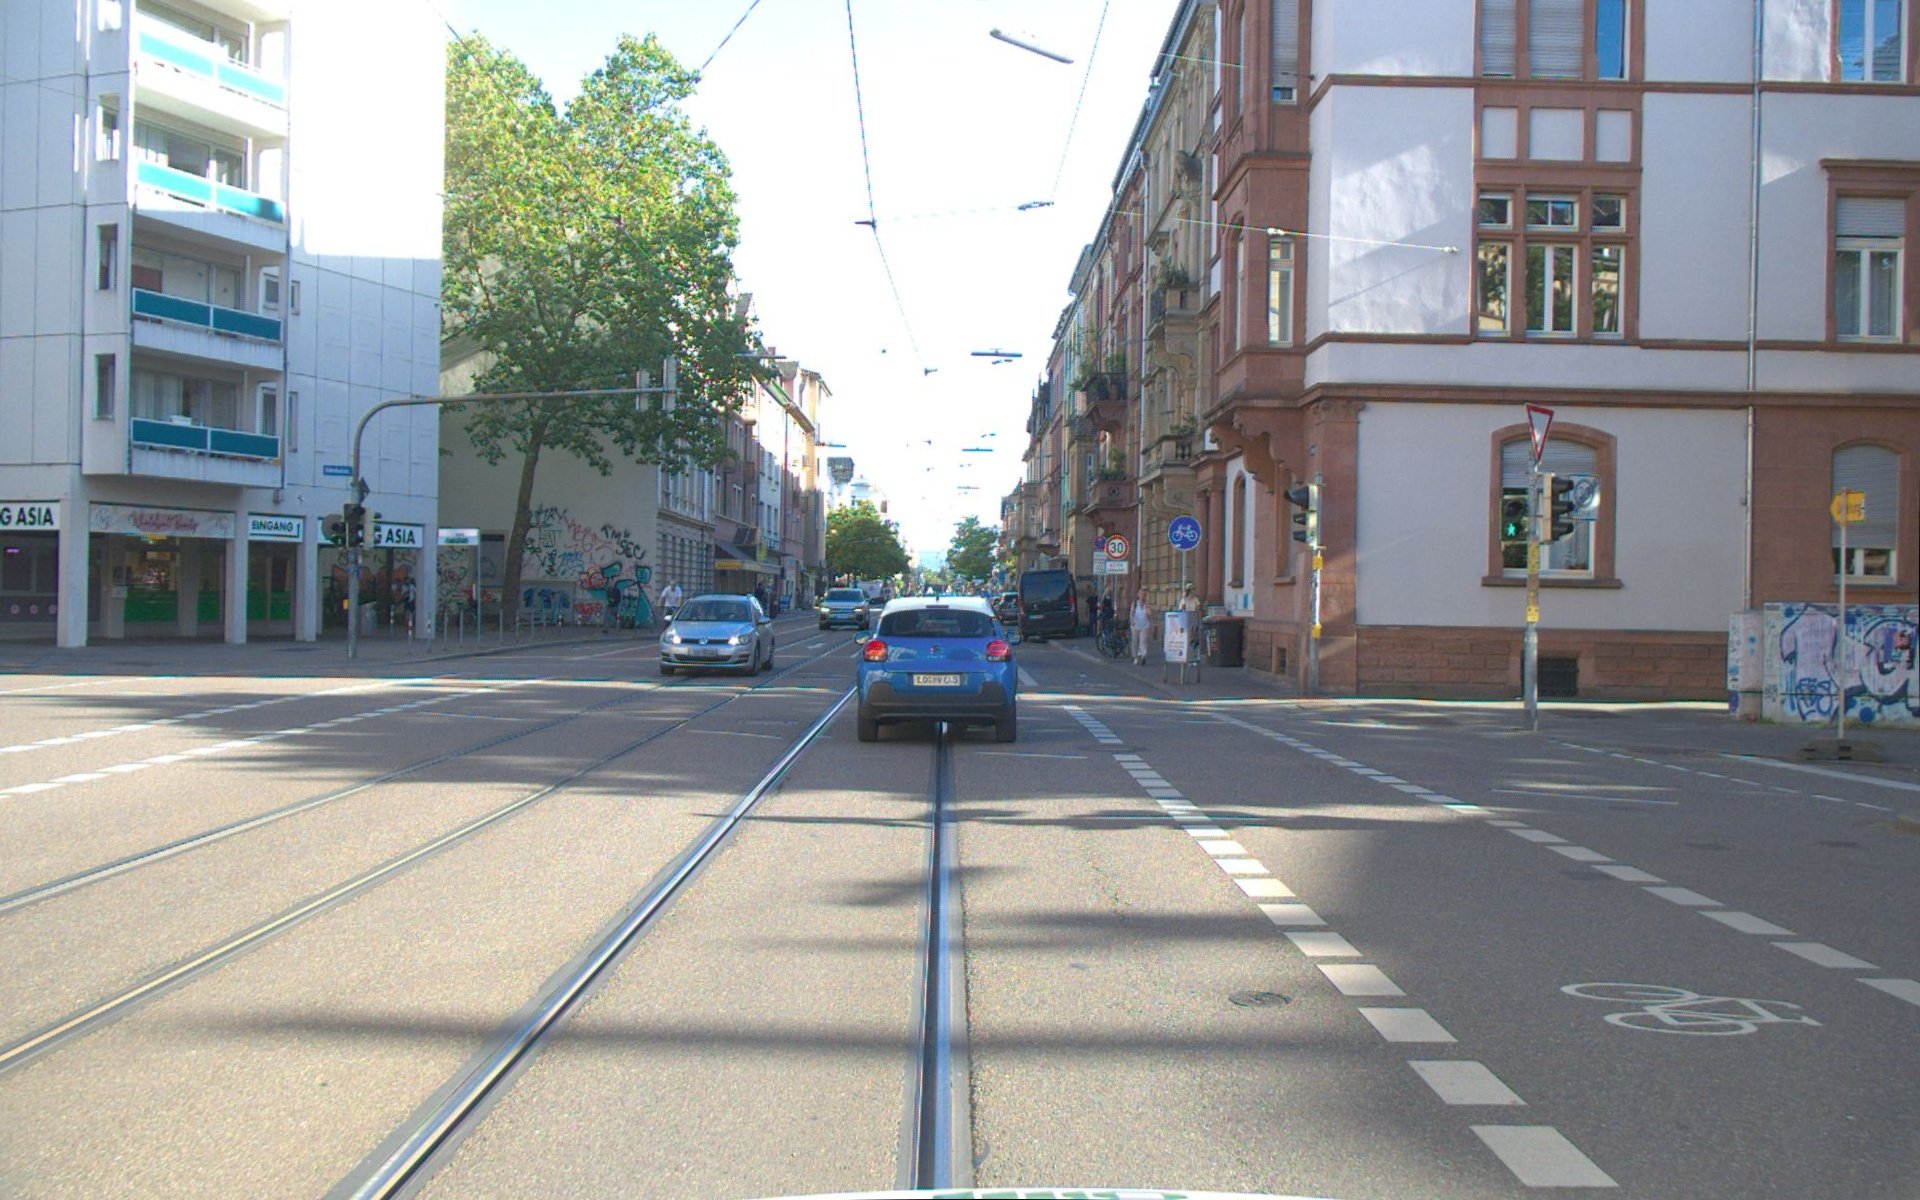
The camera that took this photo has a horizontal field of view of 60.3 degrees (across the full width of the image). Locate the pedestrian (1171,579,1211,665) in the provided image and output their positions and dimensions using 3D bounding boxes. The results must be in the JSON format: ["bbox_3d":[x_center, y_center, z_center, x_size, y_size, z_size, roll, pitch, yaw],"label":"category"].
[{"bbox_3d":[5.034,0.475,36.084,0.691,1.813,0.672,-2,0,-2],"label":"pedestrian"}]

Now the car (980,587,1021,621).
[{"bbox_3d":[2.149,0.209,89.114,1.965,1.702,4.805,1,0,-1],"label":"car"}]

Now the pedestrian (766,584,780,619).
[{"bbox_3d":[-9.701,0.090,85.897,0.697,1.795,0.653,1,0,-9],"label":"pedestrian"}]

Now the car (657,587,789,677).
[{"bbox_3d":[-4.358,0.552,31.062,1.945,1.528,4.307,1,0,-2],"label":"car"}]

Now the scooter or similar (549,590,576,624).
[{"bbox_3d":[-14.610,0.250,60.753,0.921,1.243,0.765,1,0,-13],"label":"scooter or similar"}]

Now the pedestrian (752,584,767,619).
[{"bbox_3d":[-10.391,0.093,85.694,0.696,1.795,0.570,1,0,-2],"label":"pedestrian"}]

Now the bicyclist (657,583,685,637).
[{"bbox_3d":[-8.254,0.289,47.257,0.668,1.509,0.778,1,0,-2],"label":"bicyclist"}]

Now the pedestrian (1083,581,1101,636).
[{"bbox_3d":[4.953,0.312,62.103,0.573,2.049,0.823,1,0,-2],"label":"pedestrian"}]

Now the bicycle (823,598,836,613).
[{"bbox_3d":[-12.080,0.532,153.075,1.099,1.342,3.639,1,0,-6],"label":"bicycle"}]

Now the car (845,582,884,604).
[{"bbox_3d":[-11.648,-0.861,202.158,4.256,2.626,2.191,-1,0,-27],"label":"car"}]

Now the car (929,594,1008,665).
[{"bbox_3d":[0.144,0.627,37.558,1.633,1.504,3.999,1,0,-2],"label":"car"}]

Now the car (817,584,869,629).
[{"bbox_3d":[-4.869,0.278,69.348,1.953,1.774,4.561,1,0,-2],"label":"car"}]

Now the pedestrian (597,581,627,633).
[{"bbox_3d":[-12.106,0.237,57.530,0.668,1.796,1.026,1,0,10],"label":"pedestrian"}]

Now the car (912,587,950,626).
[{"bbox_3d":[-1.577,0.330,88.899,1.953,2.049,3.999,1,0,-2],"label":"car"}]

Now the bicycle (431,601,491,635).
[{"bbox_3d":[-16.150,0.569,53.522,1.878,1.052,0.664,1,0,26],"label":"bicycle"}]

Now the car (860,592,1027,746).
[{"bbox_3d":[-0.279,0.678,18.401,1.641,1.503,3.997,1,0,-4],"label":"car"}]

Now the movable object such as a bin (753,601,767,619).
[{"bbox_3d":[-10.435,0.497,86.332,0.598,0.930,0.695,1,0,-1],"label":"movable object such as a bin"}]

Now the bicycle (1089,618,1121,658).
[{"bbox_3d":[3.615,0.941,41.301,0.423,0.964,1.760,1,0,-8],"label":"bicycle"}]

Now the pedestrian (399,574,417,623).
[{"bbox_3d":[-19.864,-0.037,59.534,0.446,1.748,0.547,1,0,-2],"label":"pedestrian"}]

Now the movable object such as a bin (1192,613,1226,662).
[{"bbox_3d":[5.550,0.831,36.916,0.652,1.096,0.571,0,0,-2],"label":"movable object such as a bin"}]

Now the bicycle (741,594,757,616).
[{"bbox_3d":[-11.296,0.260,88.333,0.610,1.180,2.058,1,0,-14],"label":"bicycle"}]

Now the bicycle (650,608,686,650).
[{"bbox_3d":[-8.245,0.809,46.692,0.678,1.140,2.083,1,0,-2],"label":"bicycle"}]

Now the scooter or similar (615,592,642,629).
[{"bbox_3d":[-12.295,0.368,61.365,0.772,1.294,1.074,3,1,-2],"label":"scooter or similar"}]

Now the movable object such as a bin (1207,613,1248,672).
[{"bbox_3d":[5.783,0.912,35.778,0.653,1.173,0.594,-7,1,-2],"label":"movable object such as a bin"}]

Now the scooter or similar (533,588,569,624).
[{"bbox_3d":[-14.820,0.203,59.922,1.207,1.280,0.765,1,0,-13],"label":"scooter or similar"}]

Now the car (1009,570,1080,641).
[{"bbox_3d":[3.088,0.191,61.715,2.225,2.479,5.719,1,0,-1],"label":"car"}]

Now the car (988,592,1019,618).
[{"bbox_3d":[2.929,0.329,113.035,1.964,1.702,4.390,1,0,0],"label":"car"}]

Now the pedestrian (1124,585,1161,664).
[{"bbox_3d":[4.065,0.534,36.880,0.615,1.731,0.681,1,0,-10],"label":"pedestrian"}]

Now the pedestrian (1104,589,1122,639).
[{"bbox_3d":[5.633,0.511,60.915,0.542,1.813,0.606,1,0,-2],"label":"pedestrian"}]

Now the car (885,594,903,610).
[{"bbox_3d":[-7.478,0.223,188.239,1.953,1.680,3.999,1,0,-2],"label":"car"}]

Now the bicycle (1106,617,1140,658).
[{"bbox_3d":[4.070,0.933,41.368,0.423,0.964,1.760,1,0,-8],"label":"bicycle"}]
